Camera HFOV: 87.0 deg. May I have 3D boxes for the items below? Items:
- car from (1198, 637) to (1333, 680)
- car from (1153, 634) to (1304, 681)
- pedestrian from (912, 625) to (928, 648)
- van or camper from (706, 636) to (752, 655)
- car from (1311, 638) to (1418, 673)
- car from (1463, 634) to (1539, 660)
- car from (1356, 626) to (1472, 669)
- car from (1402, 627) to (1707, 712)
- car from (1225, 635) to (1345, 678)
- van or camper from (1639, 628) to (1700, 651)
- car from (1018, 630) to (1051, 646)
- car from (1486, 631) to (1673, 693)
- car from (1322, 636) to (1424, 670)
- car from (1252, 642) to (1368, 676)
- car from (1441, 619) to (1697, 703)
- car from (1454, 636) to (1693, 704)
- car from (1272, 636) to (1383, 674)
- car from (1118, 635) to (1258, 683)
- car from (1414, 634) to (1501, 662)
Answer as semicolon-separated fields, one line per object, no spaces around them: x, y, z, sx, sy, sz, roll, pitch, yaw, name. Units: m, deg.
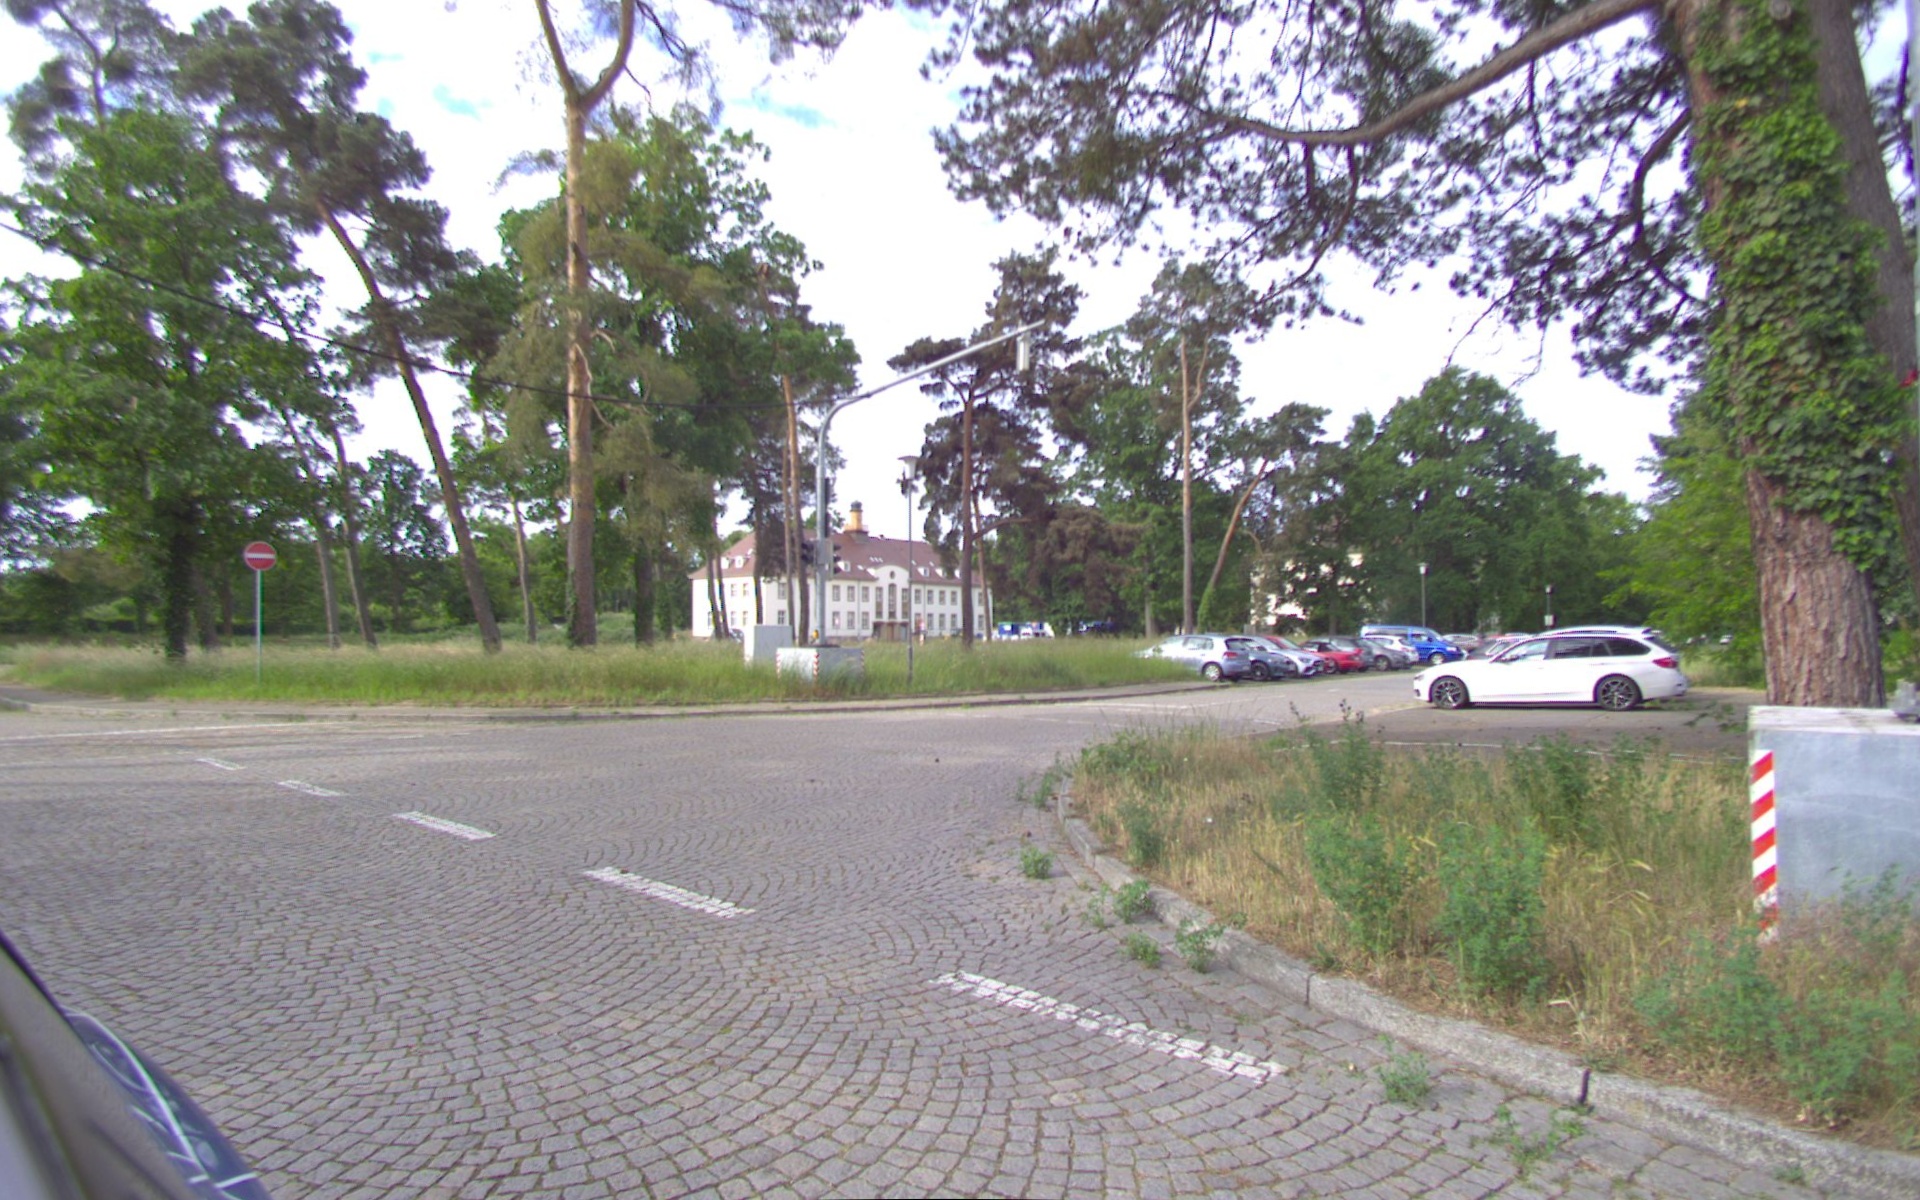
10.845;2.034;36.064;4.271;1.456;1.771;-2;-3;43;car
8.982;1.886;34.131;4.631;1.456;1.772;-2;-3;41;car
-3.840;3.493;97.137;1.184;2.194;1.041;-2;-3;41;pedestrian
-29.535;5.766;129.244;6.120;2.324;2.433;-2;-3;39;van or camper
17.377;2.350;43.585;3.934;1.446;1.772;-2;-3;41;car
34.523;2.972;64.632;3.994;1.581;1.975;-2;-3;38;car
22.407;2.318;50.048;4.847;2.029;1.971;-2;-3;45;car
11.391;1.373;19.587;4.815;1.451;1.889;-5;-5;38;car
12.148;2.077;37.963;3.936;1.524;1.771;-2;-3;43;car
77.550;4.290;110.626;5.245;2.482;2.180;-2;-3;39;van or camper
9.928;5.049;134.771;2.165;2.029;4.772;-2;-3;38;car
15.886;1.546;26.025;3.979;1.467;1.660;-1;-2;36;car
18.865;2.395;46.321;3.934;1.460;1.772;-2;-3;41;car
13.719;2.267;39.763;3.935;1.244;1.772;-2;-3;42;car
12.916;1.314;21.601;4.480;1.602;1.824;-4;-4;37;car
14.366;1.581;23.853;4.629;1.433;1.861;-2;-3;38;car
15.199;2.232;41.939;3.935;1.487;1.772;-2;-3;42;car
7.201;1.834;32.176;3.999;1.429;1.772;-2;-3;42;car
27.946;2.659;56.900;4.000;1.516;1.843;-2;-3;43;car
